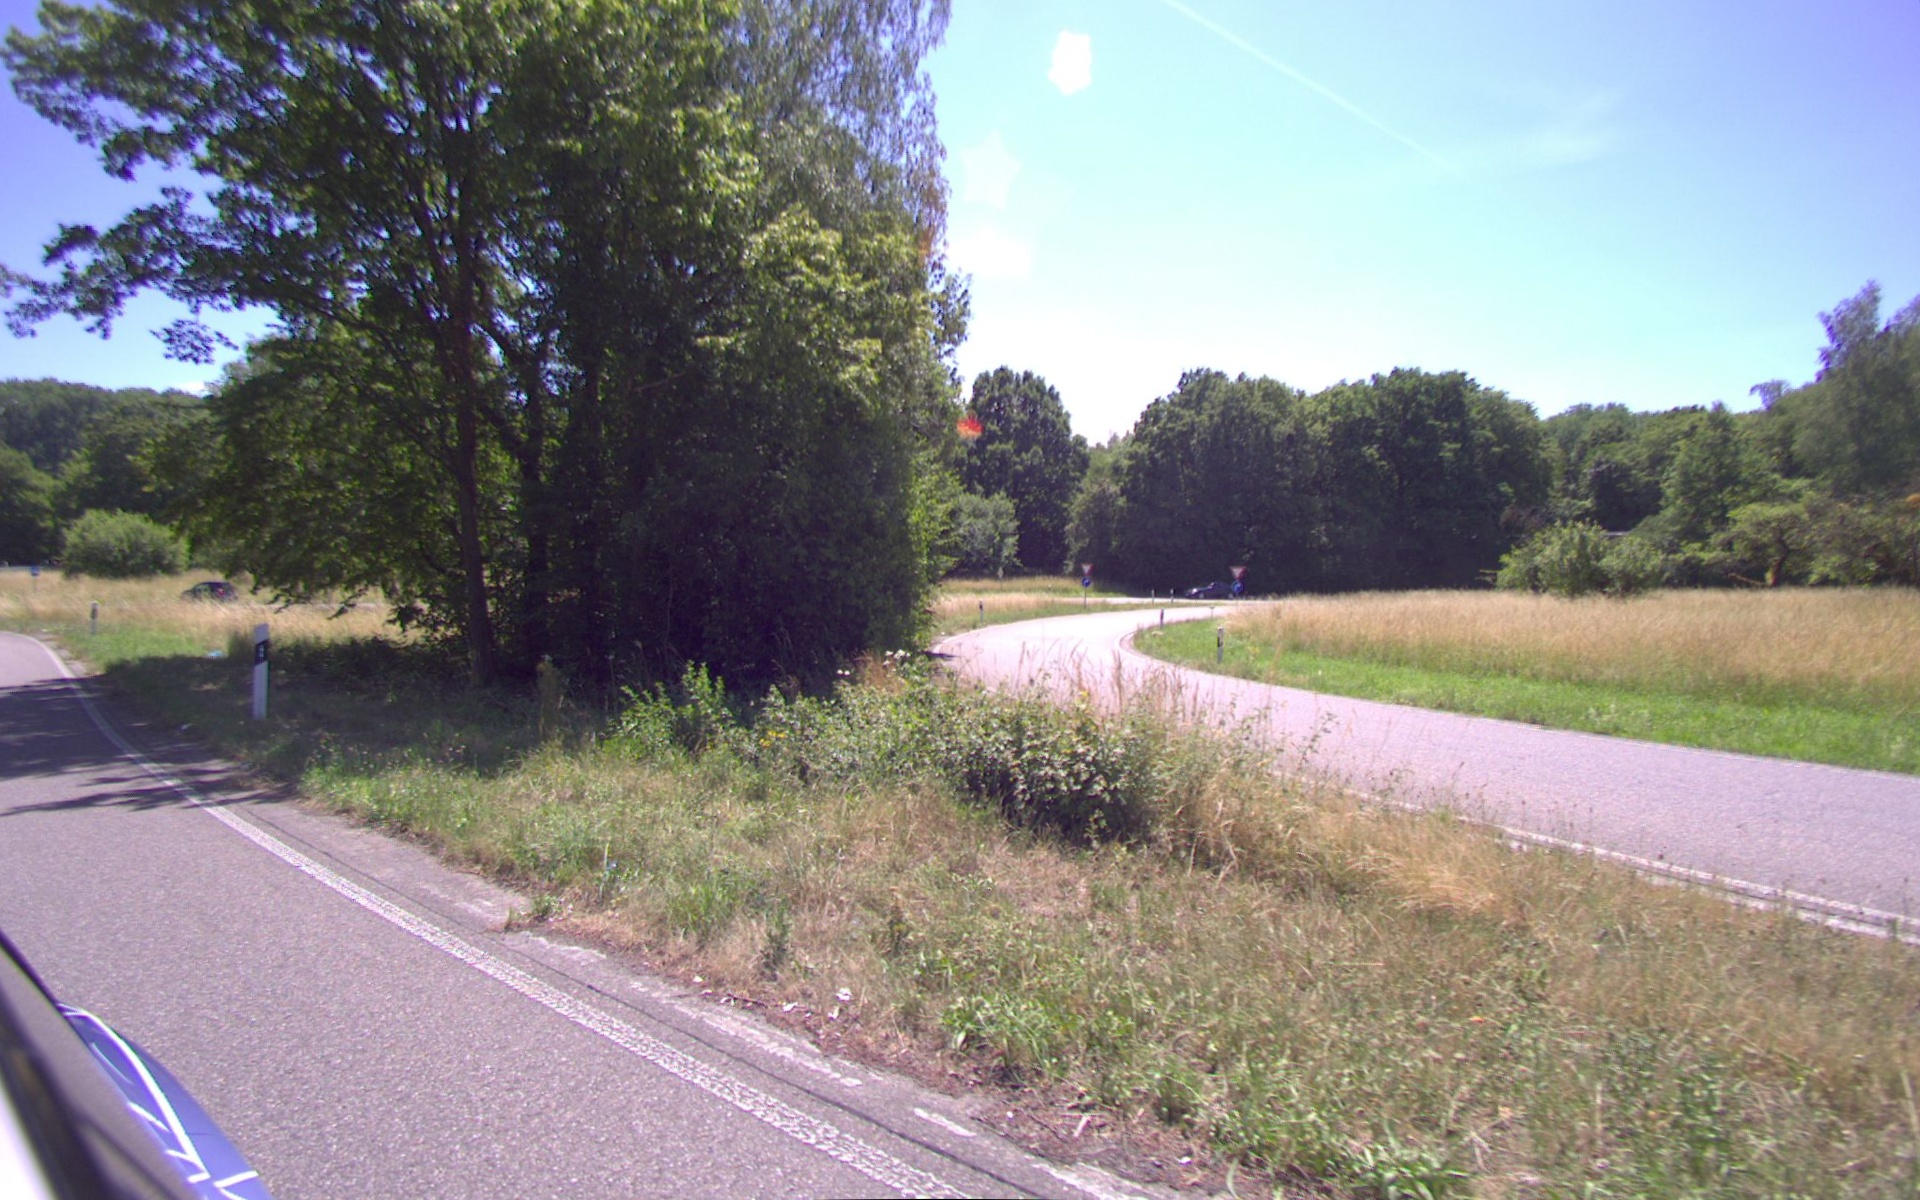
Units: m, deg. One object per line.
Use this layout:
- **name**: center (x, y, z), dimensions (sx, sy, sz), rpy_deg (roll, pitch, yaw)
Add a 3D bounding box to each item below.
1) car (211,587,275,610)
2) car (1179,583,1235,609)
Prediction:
- **car**: center (-44.963, -0.092, 63.504), dimensions (2.916, 1.337, 1.474), rpy_deg (0, 2, -6)
- **car**: center (20.323, -0.367, 83.327), dimensions (3.931, 2.028, 2.007), rpy_deg (0, 2, -20)
